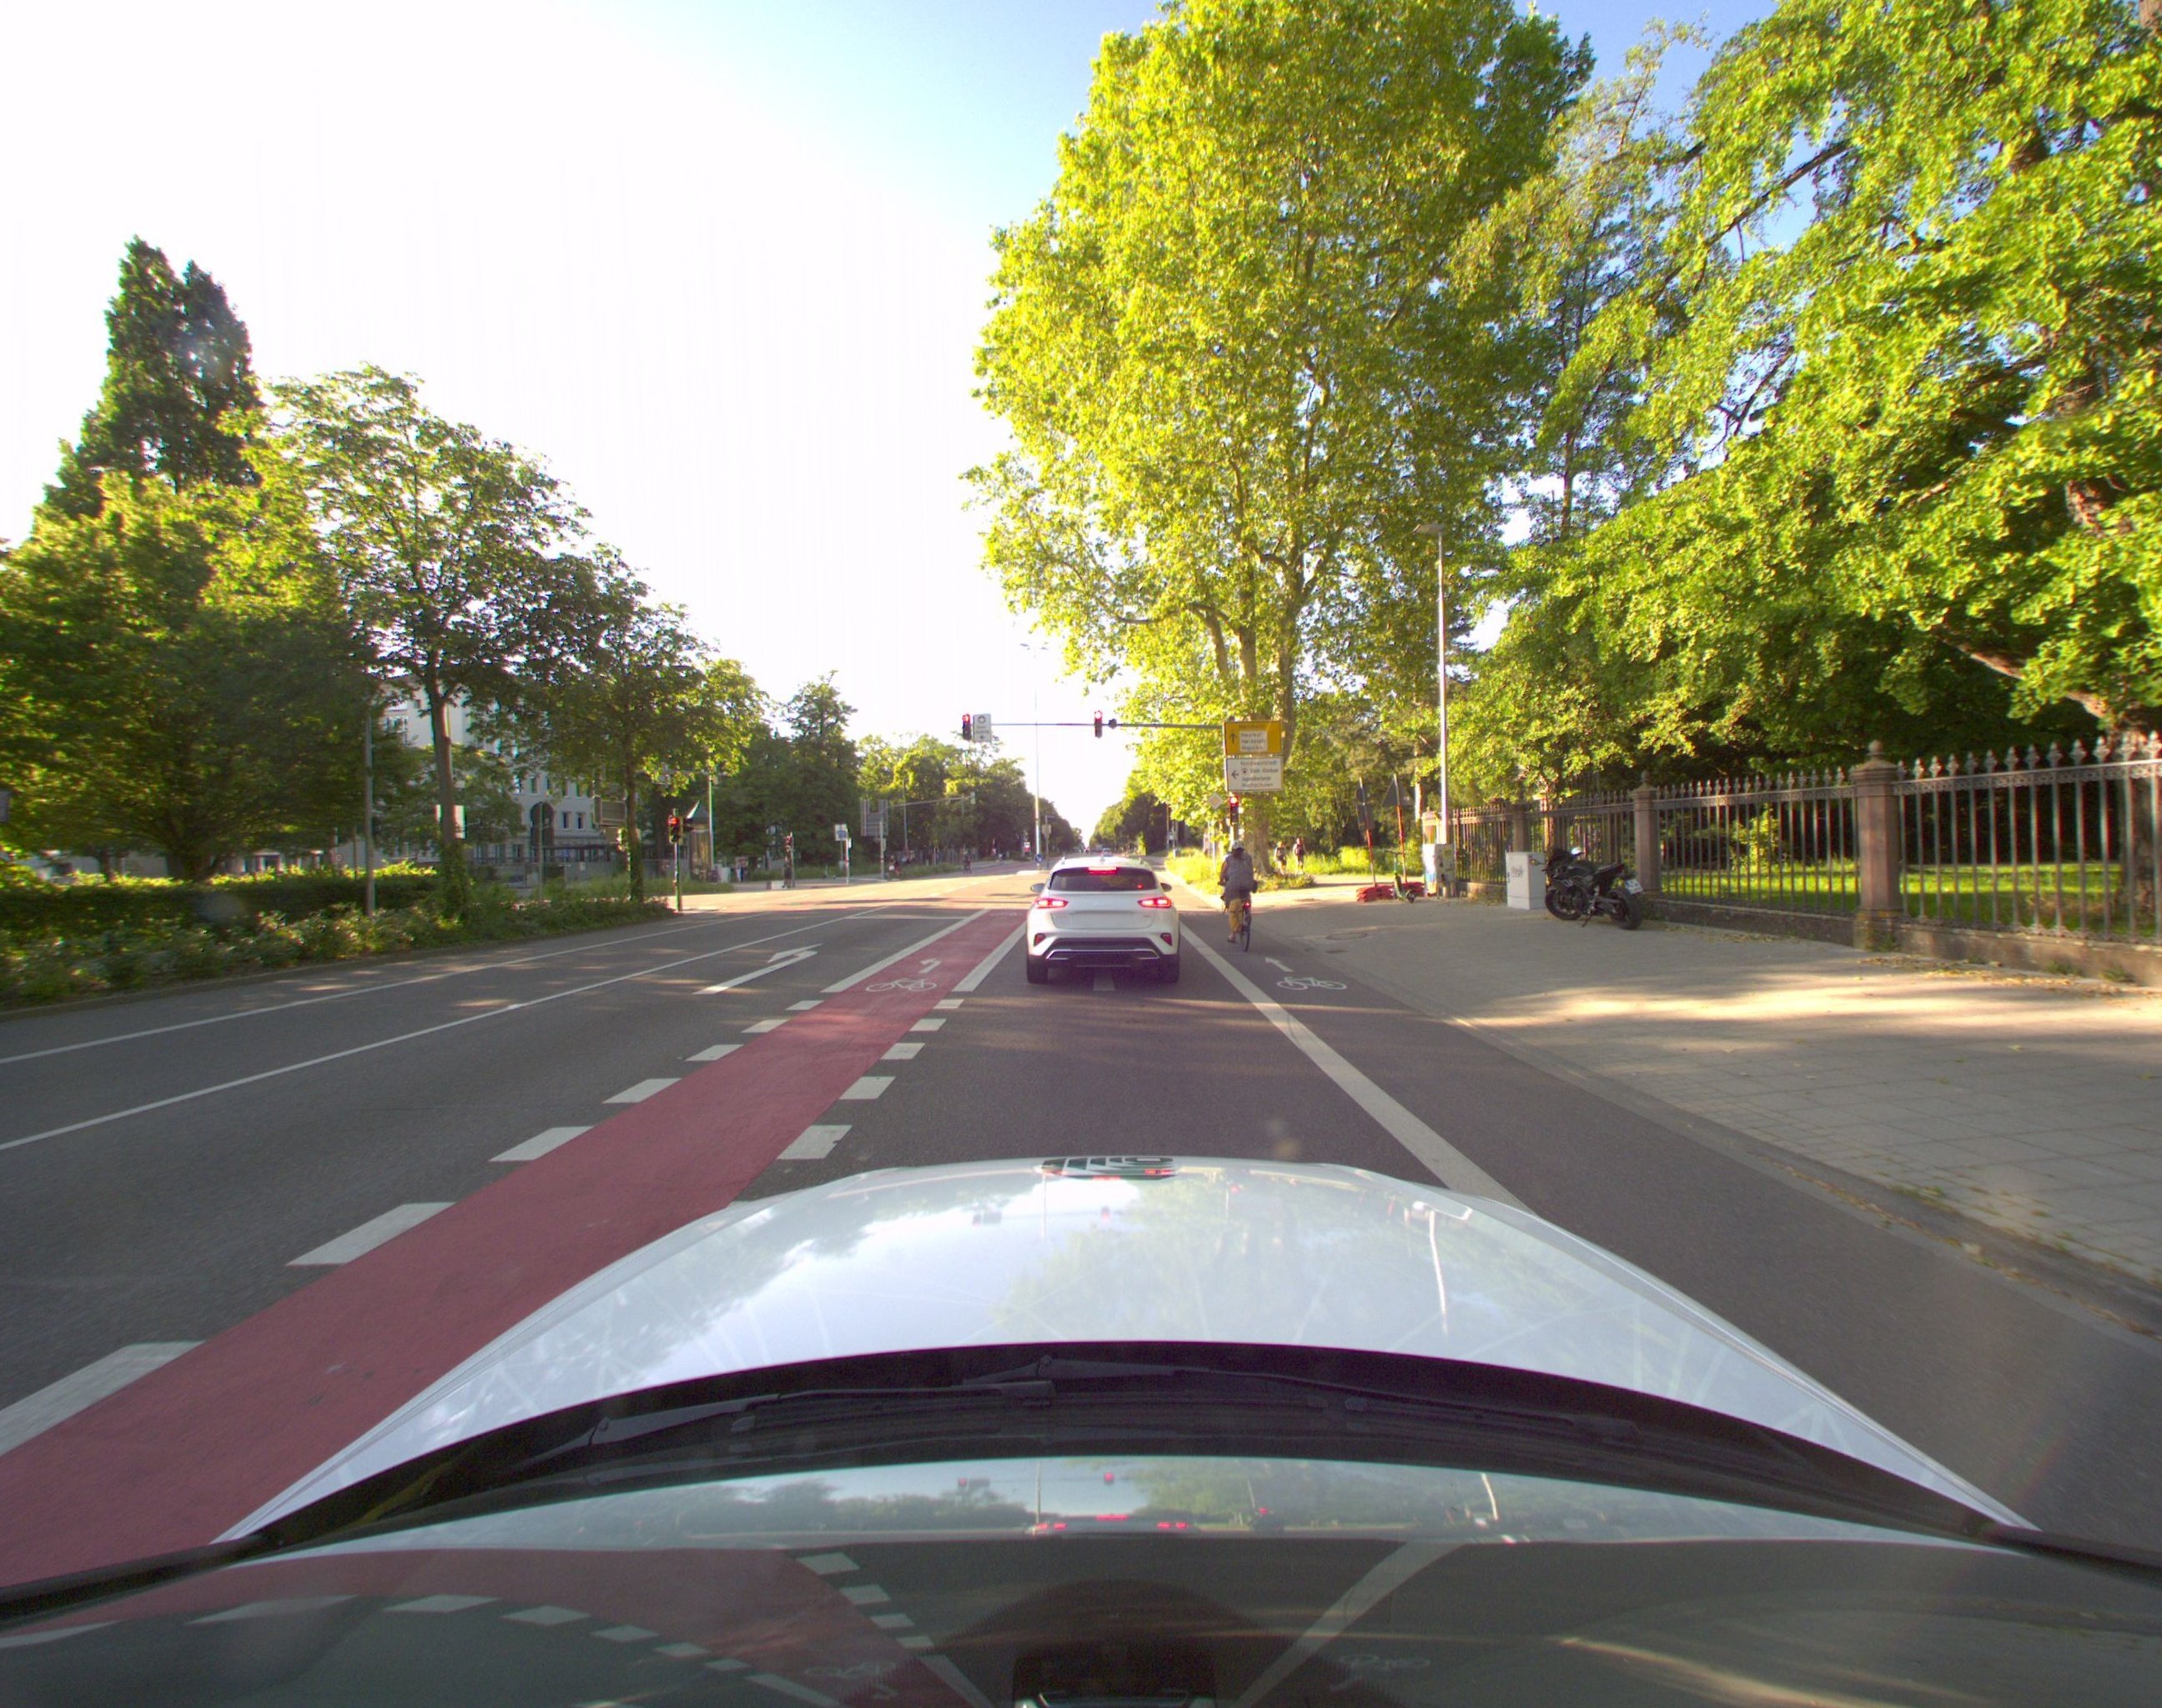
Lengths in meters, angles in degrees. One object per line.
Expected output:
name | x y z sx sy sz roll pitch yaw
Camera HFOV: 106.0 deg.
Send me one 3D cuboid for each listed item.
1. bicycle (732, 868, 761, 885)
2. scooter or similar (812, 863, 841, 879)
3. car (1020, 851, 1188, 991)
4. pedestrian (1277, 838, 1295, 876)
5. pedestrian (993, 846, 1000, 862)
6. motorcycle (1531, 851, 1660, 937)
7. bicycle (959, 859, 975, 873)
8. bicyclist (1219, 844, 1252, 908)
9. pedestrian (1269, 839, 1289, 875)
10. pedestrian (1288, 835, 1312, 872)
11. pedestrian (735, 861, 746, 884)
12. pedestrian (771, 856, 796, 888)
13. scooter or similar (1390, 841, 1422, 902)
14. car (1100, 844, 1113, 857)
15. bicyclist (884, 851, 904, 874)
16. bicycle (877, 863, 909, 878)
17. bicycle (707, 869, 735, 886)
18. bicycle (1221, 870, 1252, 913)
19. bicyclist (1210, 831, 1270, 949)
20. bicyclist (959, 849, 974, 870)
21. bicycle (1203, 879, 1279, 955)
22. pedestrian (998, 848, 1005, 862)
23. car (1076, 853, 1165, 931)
bicycle | -23.707 1.606 57.763 1.858 1.148 0.290 -1 -1 -5
scooter or similar | -18.593 1.259 59.524 0.703 1.124 1.933 -1 0 35
car | 0.277 0.732 10.907 1.815 1.480 3.936 -1 0 1
pedestrian | 9.925 0.147 39.440 0.614 1.771 0.646 -2 0 -5
pedestrian | -11.254 0.011 108.419 0.637 2.014 0.756 -1 -1 12
motorcycle | 7.556 0.545 12.097 0.504 1.131 2.171 -3 0 1
bicycle | -8.982 0.943 64.321 0.660 0.989 2.507 -2 0 4
bicyclist | 3.698 0.514 19.551 0.552 1.478 0.717 -5 0 0
pedestrian | 9.495 0.143 39.045 0.688 1.699 0.643 -2 0 -5
pedestrian | 10.686 -0.030 39.738 0.816 1.771 0.831 -2 0 -5
pedestrian | -23.953 1.319 57.256 0.628 1.580 0.444 -1 -1 -8
pedestrian | -18.513 1.108 50.760 0.989 2.014 1.193 -1 0 7
scooter or similar | 7.428 0.386 18.650 0.227 1.327 1.172 -2 0 1
car | 4.097 -0.543 130.903 1.986 2.013 4.002 -2 0 2
bicyclist | -13.444 0.609 58.489 0.867 1.606 0.983 -2 0 26
bicycle | -13.469 1.169 58.389 0.574 0.989 2.731 -2 0 27
bicycle | -25.640 1.667 58.022 1.850 1.148 0.444 -1 -1 11
bicycle | 3.729 0.882 19.644 0.400 0.956 1.551 -5 0 1
bicyclist | 2.531 0.548 13.081 0.750 1.795 1.165 0 0 0
bicyclist | -9.018 0.449 64.124 0.871 1.608 1.189 -2 0 4
bicycle | 2.530 0.955 13.160 0.755 1.013 2.570 0 0 1
pedestrian | -10.567 0.147 108.765 0.781 1.785 0.752 -1 -1 2
car | 0.798 0.751 17.968 1.723 1.483 3.517 -2 0 0
